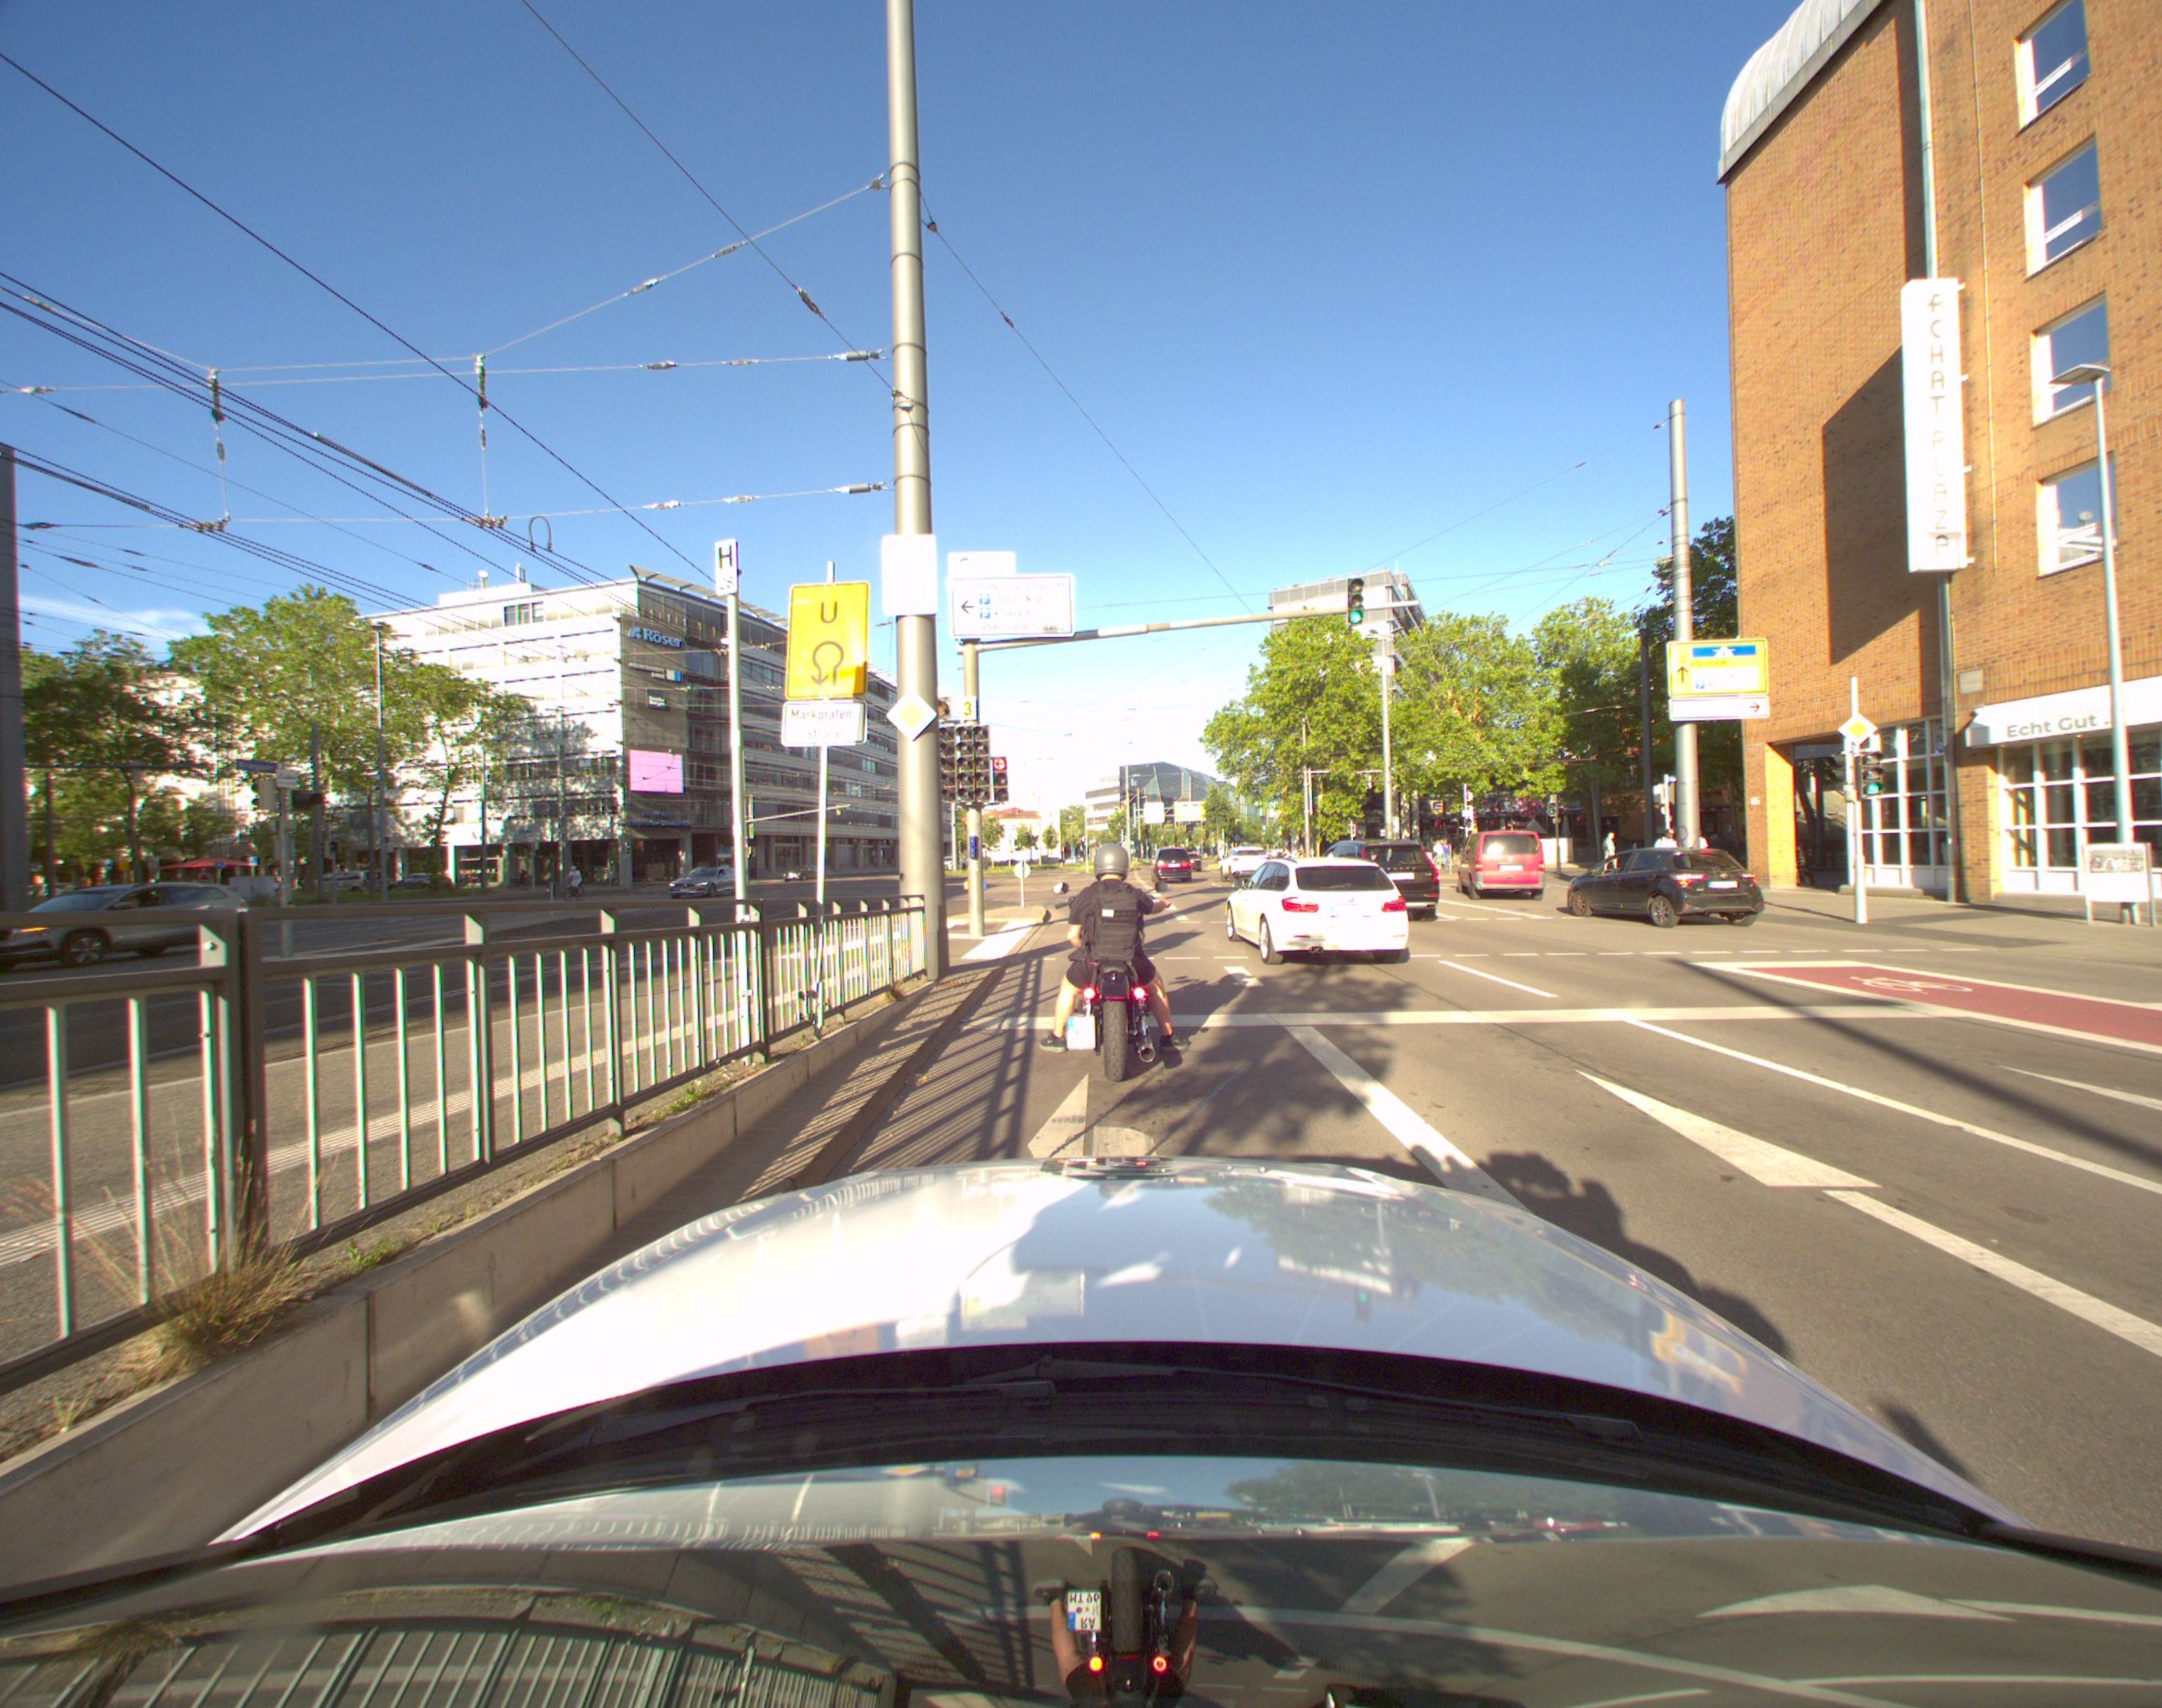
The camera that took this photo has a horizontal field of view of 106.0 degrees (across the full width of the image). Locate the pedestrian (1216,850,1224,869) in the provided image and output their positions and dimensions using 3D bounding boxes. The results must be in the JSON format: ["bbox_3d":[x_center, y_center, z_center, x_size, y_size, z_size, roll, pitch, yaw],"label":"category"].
[{"bbox_3d":[11.728,0.447,68.800,0.587,1.557,0.488,0,-1,-6],"label":"pedestrian"}]

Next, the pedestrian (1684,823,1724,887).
[{"bbox_3d":[17.809,0.040,23.292,0.588,1.780,0.684,-3,-1,13],"label":"pedestrian"}]

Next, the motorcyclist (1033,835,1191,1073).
[{"bbox_3d":[0.225,0.681,5.972,1.027,1.593,0.874,-2,0,1],"label":"motorcyclist"}]

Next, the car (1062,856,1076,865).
[{"bbox_3d":[-2.089,1.110,141.531,1.815,1.430,4.540,-2,0,8],"label":"car"}]

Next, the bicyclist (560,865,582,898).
[{"bbox_3d":[-24.112,1.311,38.506,0.584,1.534,0.650,0,-1,2],"label":"bicyclist"}]

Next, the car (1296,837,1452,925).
[{"bbox_3d":[6.433,0.557,18.463,1.727,1.732,4.607,0,-1,-2],"label":"car"}]

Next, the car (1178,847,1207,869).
[{"bbox_3d":[8.753,0.345,64.116,1.797,1.678,4.041,0,-1,1],"label":"car"}]

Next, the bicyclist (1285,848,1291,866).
[{"bbox_3d":[16.496,0.245,64.842,0.377,1.373,0.347,-1,-1,39],"label":"bicyclist"}]

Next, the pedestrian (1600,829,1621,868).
[{"bbox_3d":[23.262,-0.217,35.787,0.634,1.700,0.727,-1,-1,21],"label":"pedestrian"}]

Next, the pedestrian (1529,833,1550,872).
[{"bbox_3d":[22.744,-0.071,40.403,0.783,1.898,0.821,-1,-1,21],"label":"pedestrian"}]

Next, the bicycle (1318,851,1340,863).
[{"bbox_3d":[21.548,0.261,70.793,1.874,1.046,0.360,0,0,1],"label":"bicycle"}]

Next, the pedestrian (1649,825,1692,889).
[{"bbox_3d":[17.003,0.098,23.512,0.591,1.780,0.681,-5,-2,-1],"label":"pedestrian"}]

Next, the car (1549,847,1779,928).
[{"bbox_3d":[11.618,0.583,16.613,1.727,1.450,4.037,0,0,-2],"label":"car"}]

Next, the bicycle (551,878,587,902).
[{"bbox_3d":[-24.104,1.683,38.372,0.458,1.090,1.815,-3,-1,2],"label":"bicycle"}]

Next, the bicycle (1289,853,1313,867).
[{"bbox_3d":[17.679,0.476,65.434,1.854,1.044,0.540,-1,-1,20],"label":"bicycle"}]

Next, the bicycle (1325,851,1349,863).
[{"bbox_3d":[21.579,0.264,68.655,1.874,1.046,0.360,0,-1,1],"label":"bicycle"}]

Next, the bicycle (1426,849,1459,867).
[{"bbox_3d":[25.127,0.272,56.633,2.034,1.214,0.421,0,-1,2],"label":"bicycle"}]

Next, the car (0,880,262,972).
[{"bbox_3d":[-20.168,1.415,17.036,1.821,1.568,4.237,-2,-1,-2],"label":"car"}]

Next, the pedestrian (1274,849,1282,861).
[{"bbox_3d":[22.021,0.161,90.941,0.814,1.314,0.640,-1,-1,11],"label":"pedestrian"}]

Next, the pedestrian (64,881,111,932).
[{"bbox_3d":[-34.043,1.788,27.922,0.587,1.691,0.795,0,-1,2],"label":"pedestrian"}]

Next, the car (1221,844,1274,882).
[{"bbox_3d":[7.503,0.377,37.092,1.725,1.598,4.043,0,0,2],"label":"car"}]

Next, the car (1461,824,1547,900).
[{"bbox_3d":[12.526,0.239,24.363,1.787,2.009,4.497,-3,-1,22],"label":"car"}]

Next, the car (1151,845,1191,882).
[{"bbox_3d":[4.316,0.451,39.332,1.795,1.678,4.046,0,-1,5],"label":"car"}]

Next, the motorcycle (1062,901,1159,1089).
[{"bbox_3d":[0.221,0.945,6.200,0.598,1.036,2.235,0,0,2],"label":"motorcycle"}]

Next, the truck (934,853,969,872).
[{"bbox_3d":[-14.366,0.905,90.362,1.980,1.879,5.172,-4,-1,12],"label":"truck"}]

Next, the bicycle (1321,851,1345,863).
[{"bbox_3d":[21.546,0.257,69.641,1.874,1.046,0.360,0,0,1],"label":"bicycle"}]

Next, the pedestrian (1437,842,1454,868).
[{"bbox_3d":[20.938,0.073,46.760,0.568,1.479,0.697,0,-1,-22],"label":"pedestrian"}]

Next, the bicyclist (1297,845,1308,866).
[{"bbox_3d":[17.789,0.156,65.398,0.682,1.673,0.544,-2,-1,21],"label":"bicyclist"}]

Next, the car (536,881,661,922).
[{"bbox_3d":[-13.854,1.336,23.524,2.884,1.063,1.235,0,-1,-19],"label":"car"}]

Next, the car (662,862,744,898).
[{"bbox_3d":[-18.183,1.222,39.414,1.820,1.568,4.690,-2,-1,-2],"label":"car"}]

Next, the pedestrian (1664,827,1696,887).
[{"bbox_3d":[18.251,0.099,24.816,0.727,1.792,0.515,-1,-1,42],"label":"pedestrian"}]

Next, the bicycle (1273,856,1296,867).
[{"bbox_3d":[16.262,0.609,65.055,1.808,0.925,0.360,-1,-1,40],"label":"bicycle"}]

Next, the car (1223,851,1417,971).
[{"bbox_3d":[3.319,0.730,12.216,1.725,1.457,4.419,0,-1,2],"label":"car"}]

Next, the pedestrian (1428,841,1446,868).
[{"bbox_3d":[20.367,0.055,46.592,0.568,1.532,0.697,0,-1,-20],"label":"pedestrian"}]
